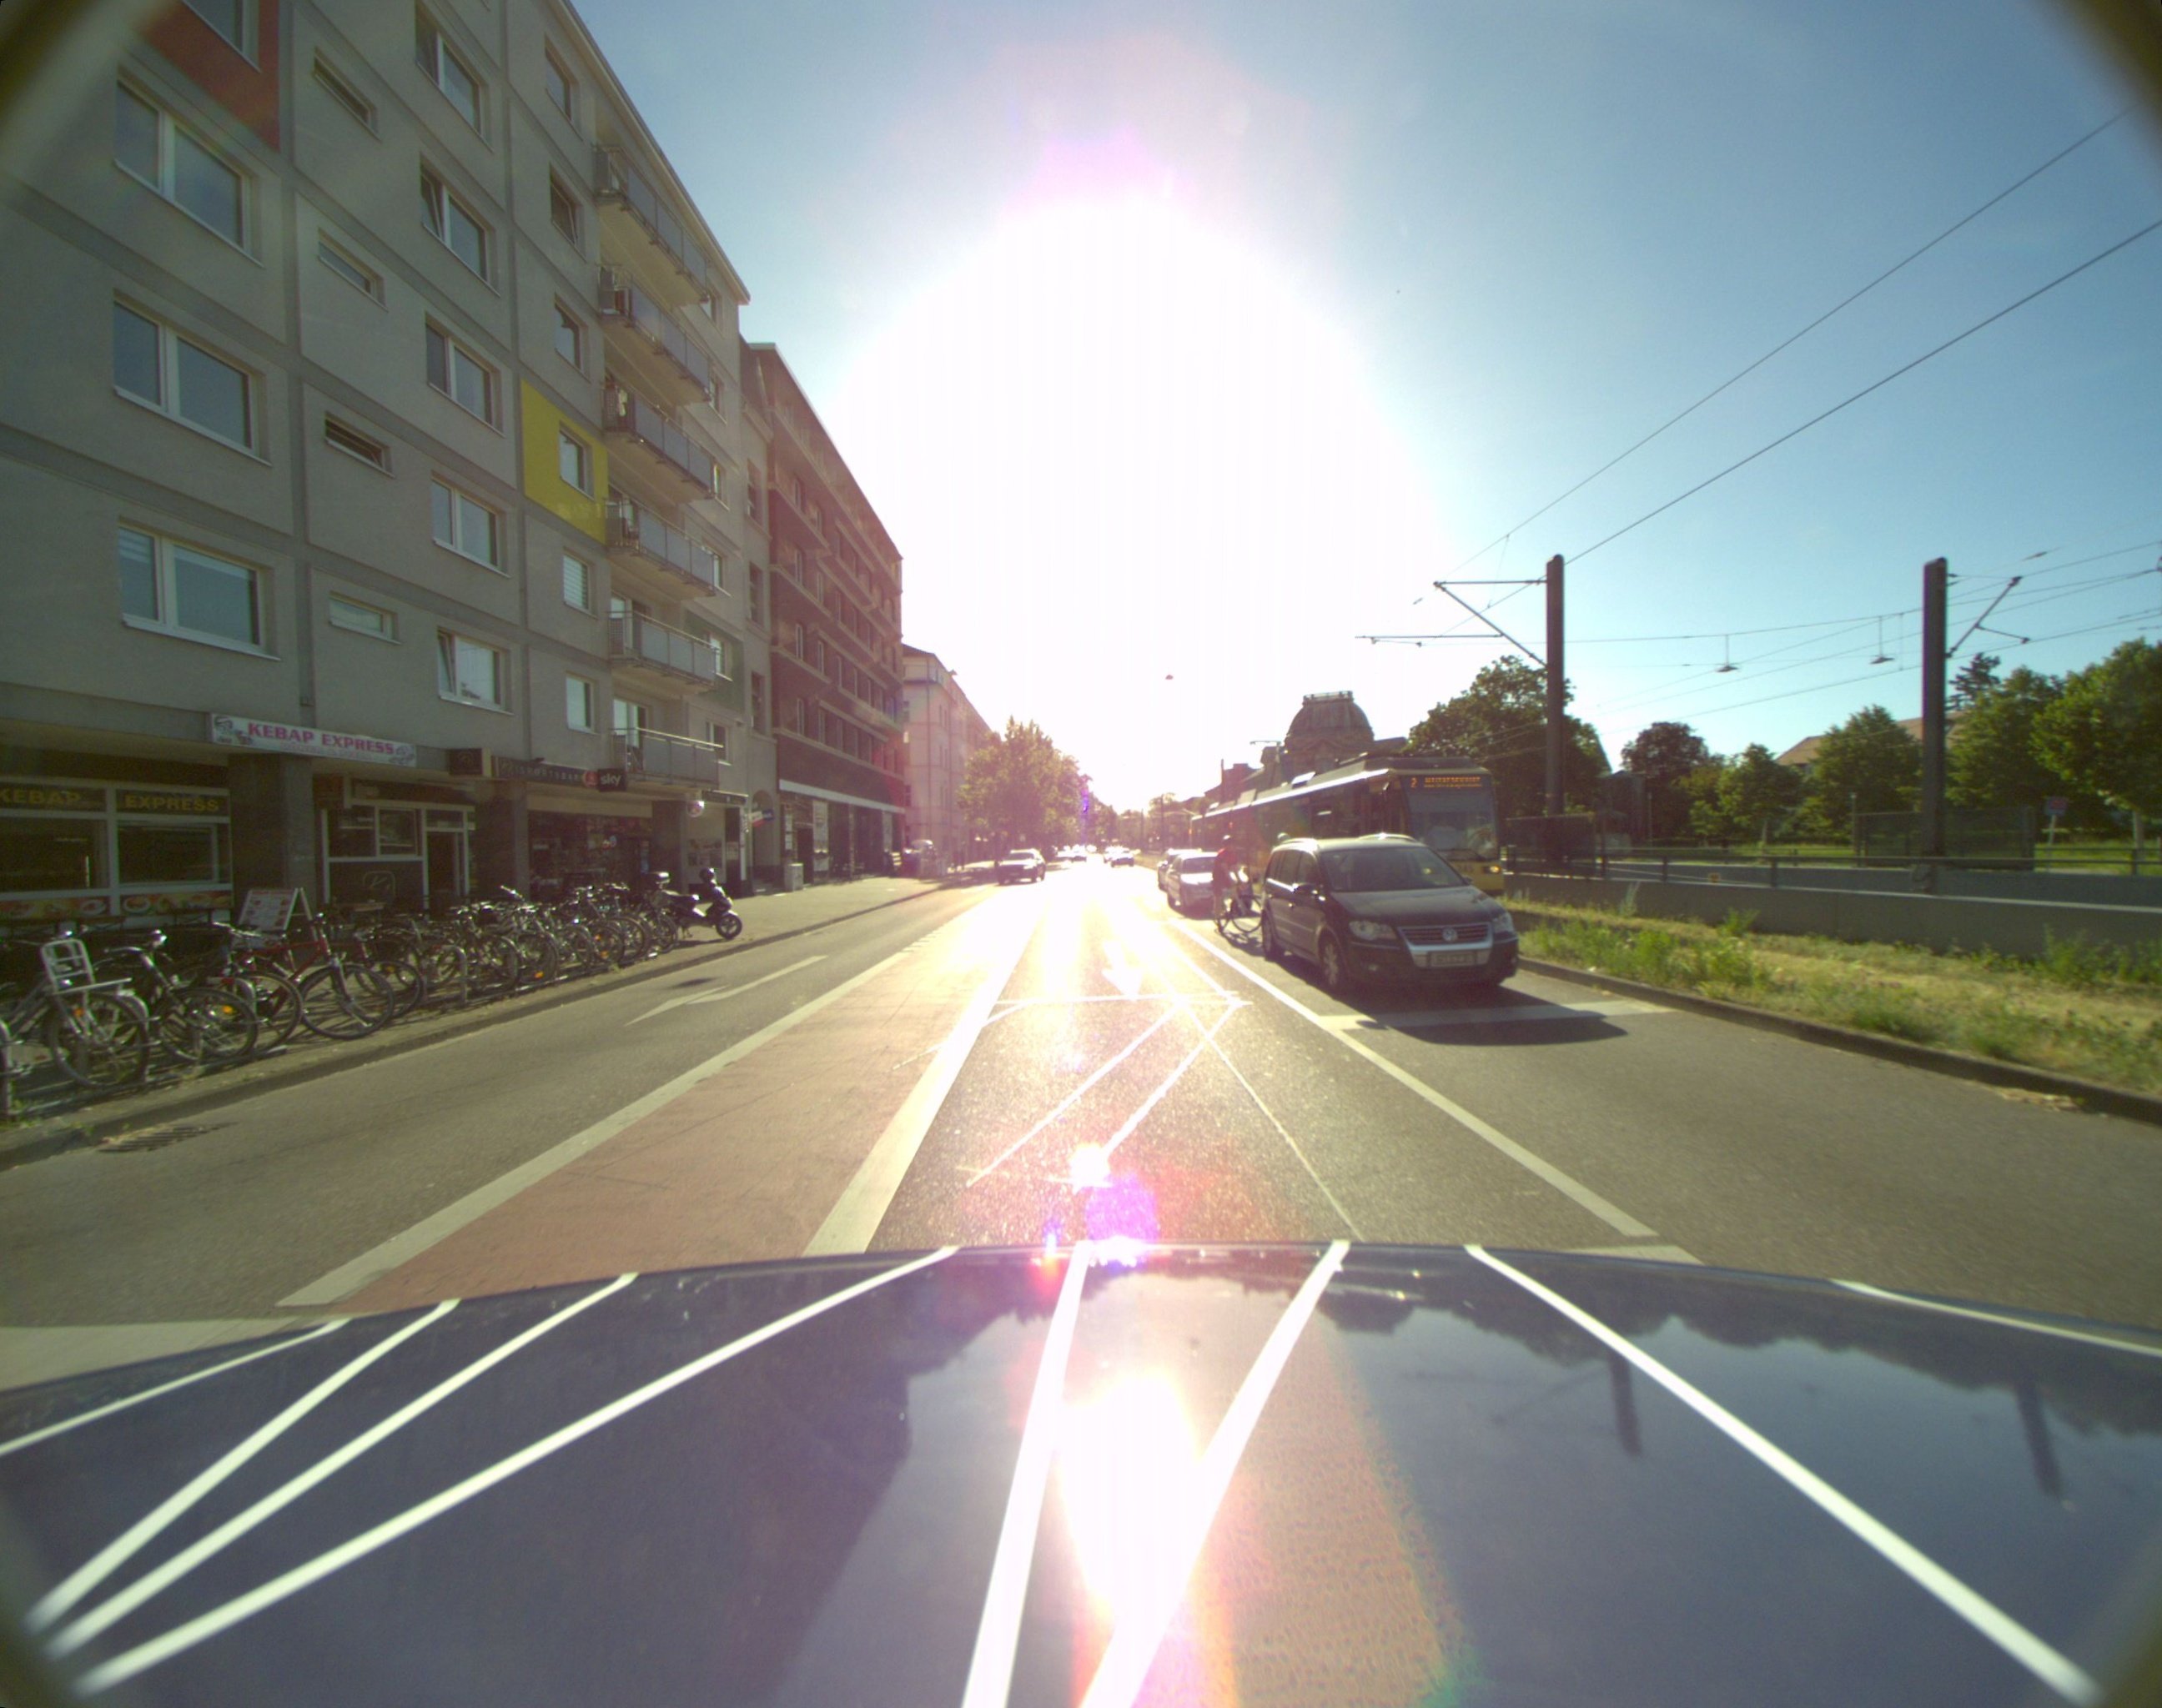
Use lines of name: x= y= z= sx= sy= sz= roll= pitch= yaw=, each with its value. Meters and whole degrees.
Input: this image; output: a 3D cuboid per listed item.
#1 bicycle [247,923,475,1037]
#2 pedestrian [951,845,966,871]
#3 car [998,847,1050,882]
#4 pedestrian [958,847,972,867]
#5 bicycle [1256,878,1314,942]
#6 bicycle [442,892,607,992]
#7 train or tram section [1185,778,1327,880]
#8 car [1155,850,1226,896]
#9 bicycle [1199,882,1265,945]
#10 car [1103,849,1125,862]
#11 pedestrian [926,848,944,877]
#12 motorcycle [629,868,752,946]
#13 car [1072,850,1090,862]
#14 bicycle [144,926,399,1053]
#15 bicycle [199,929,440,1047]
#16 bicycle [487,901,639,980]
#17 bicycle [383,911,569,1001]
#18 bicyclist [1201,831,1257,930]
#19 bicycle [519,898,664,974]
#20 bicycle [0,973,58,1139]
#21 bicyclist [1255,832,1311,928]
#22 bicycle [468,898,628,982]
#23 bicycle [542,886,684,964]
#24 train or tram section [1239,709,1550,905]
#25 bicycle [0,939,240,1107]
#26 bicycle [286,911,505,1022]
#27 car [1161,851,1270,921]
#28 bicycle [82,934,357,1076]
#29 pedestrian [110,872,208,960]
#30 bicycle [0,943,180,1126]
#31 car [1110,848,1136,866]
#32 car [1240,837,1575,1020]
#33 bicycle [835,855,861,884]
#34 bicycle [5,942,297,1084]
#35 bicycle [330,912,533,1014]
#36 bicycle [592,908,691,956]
bicycle: x=-7.345 y=1.276 z=7.794 sx=1.823 sy=1.054 sz=0.415 roll=-1 pitch=3 yaw=-3
pedestrian: x=-9.152 y=0.297 z=56.653 sx=0.867 sy=1.873 sz=1.221 roll=-2 pitch=1 yaw=-16
car: x=-2.898 y=0.507 z=39.518 sx=1.900 sy=1.677 sz=4.119 roll=-1 pitch=1 yaw=7
pedestrian: x=-9.296 y=0.234 z=61.114 sx=0.868 sy=1.639 sz=0.981 roll=-2 pitch=1 yaw=-22
bicycle: x=3.693 y=0.986 z=13.898 sx=0.539 sy=0.992 sz=1.814 roll=-3 pitch=1 yaw=0
bicycle: x=-7.383 y=1.154 z=10.123 sx=1.782 sy=1.222 sz=0.415 roll=-1 pitch=2 yaw=-4
train or tram section: x=7.268 y=-0.955 z=34.246 sx=2.957 sy=3.591 sz=13.632 roll=-2 pitch=0 yaw=-1
car: x=3.841 y=0.615 z=27.340 sx=1.891 sy=1.421 sz=4.132 roll=-3 pitch=1 yaw=0
bicycle: x=2.701 y=1.044 z=13.826 sx=0.631 sy=0.934 sz=1.905 roll=-3 pitch=1 yaw=-5
car: x=3.335 y=0.129 z=76.353 sx=1.987 sy=1.284 sz=4.326 roll=-1 pitch=1 yaw=0
pedestrian: x=-8.333 y=0.463 z=43.386 sx=0.772 sy=1.641 sz=0.672 roll=-1 pitch=1 yaw=12
motorcycle: x=-7.408 y=0.992 z=14.509 sx=1.884 sy=1.421 sz=0.888 roll=0 pitch=1 yaw=-4
car: x=-0.016 y=0.186 z=84.724 sx=1.987 sy=1.284 sz=4.392 roll=-1 pitch=1 yaw=0
bicycle: x=-7.319 y=1.216 z=6.907 sx=1.822 sy=1.054 sz=0.415 roll=-1 pitch=2 yaw=0
bicycle: x=-7.318 y=1.279 z=7.342 sx=1.823 sy=1.054 sz=0.415 roll=0 pitch=1 yaw=-3
bicycle: x=-7.430 y=1.232 z=10.938 sx=1.823 sy=1.054 sz=0.415 roll=-1 pitch=2 yaw=-4
bicycle: x=-7.334 y=1.229 z=9.252 sx=1.823 sy=1.006 sz=0.415 roll=0 pitch=2 yaw=-5
bicyclist: x=2.675 y=0.458 z=13.792 sx=0.704 sy=1.720 sz=0.853 roll=-3 pitch=2 yaw=-5
bicycle: x=-7.321 y=1.219 z=11.398 sx=1.823 sy=1.054 sz=0.415 roll=-1 pitch=2 yaw=-4
bicycle: x=-7.297 y=1.271 z=4.618 sx=1.547 sy=0.960 sz=0.387 roll=-3 pitch=2 yaw=0
bicyclist: x=3.658 y=0.446 z=13.817 sx=0.694 sy=1.650 sz=0.919 roll=-3 pitch=2 yaw=0
bicycle: x=-7.359 y=1.177 z=10.540 sx=1.823 sy=1.054 sz=0.415 roll=-1 pitch=2 yaw=-4
bicycle: x=-7.643 y=1.146 z=12.476 sx=1.823 sy=1.167 sz=0.703 roll=-1 pitch=2 yaw=-4
train or tram section: x=7.363 y=-0.936 z=21.106 sx=2.957 sy=3.664 sz=13.181 roll=-2 pitch=0 yaw=-1
bicycle: x=-7.368 y=1.227 z=5.614 sx=1.643 sy=1.105 sz=0.530 roll=1 pitch=1 yaw=-3
bicycle: x=-7.357 y=1.195 z=8.203 sx=1.823 sy=1.064 sz=0.415 roll=-1 pitch=3 yaw=-4
car: x=3.274 y=0.710 z=19.332 sx=1.998 sy=1.421 sz=4.131 roll=-3 pitch=1 yaw=0
bicycle: x=-7.331 y=1.272 z=6.502 sx=1.822 sy=1.107 sz=0.405 roll=-1 pitch=1 yaw=-1
pedestrian: x=-16.061 y=1.063 z=13.258 sx=0.766 sy=1.466 sz=0.713 roll=-1 pitch=1 yaw=-1
bicycle: x=-7.346 y=1.216 z=5.085 sx=1.818 sy=1.076 sz=0.530 roll=-3 pitch=2 yaw=-3
car: x=3.311 y=0.209 z=60.386 sx=1.858 sy=1.284 sz=4.095 roll=-1 pitch=1 yaw=0
car: x=3.361 y=0.619 z=8.917 sx=1.998 sy=1.528 sz=4.355 roll=-3 pitch=1 yaw=0
bicycle: x=-10.883 y=0.707 z=35.551 sx=0.598 sy=1.235 sz=1.932 roll=-1 pitch=1 yaw=0
bicycle: x=-7.444 y=1.262 z=6.121 sx=1.774 sy=1.049 sz=0.415 roll=0 pitch=2 yaw=-1
bicycle: x=-7.353 y=1.219 z=8.645 sx=1.823 sy=1.063 sz=0.415 roll=0 pitch=3 yaw=-5
bicycle: x=-7.577 y=1.331 z=13.140 sx=1.348 sy=0.760 sz=0.571 roll=0 pitch=1 yaw=-4
